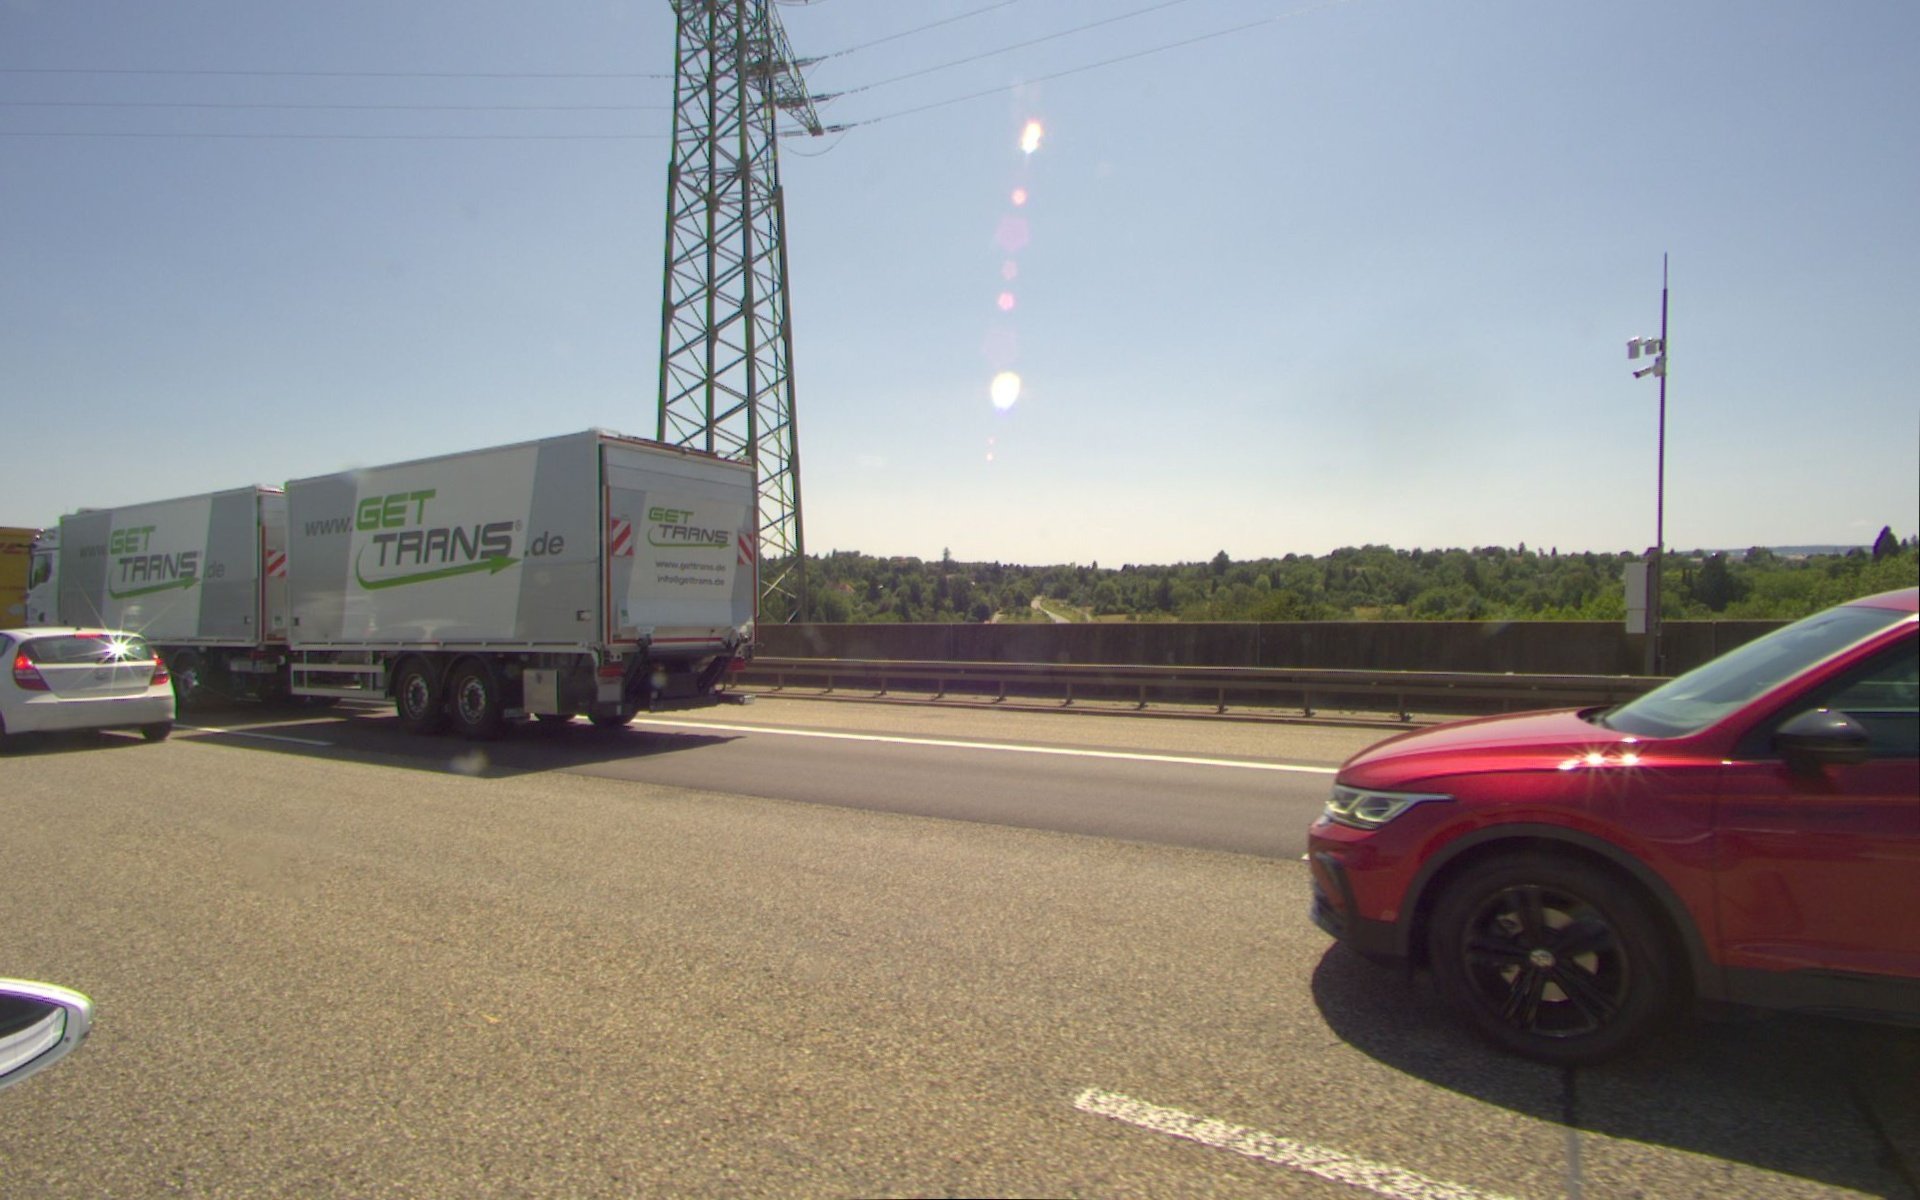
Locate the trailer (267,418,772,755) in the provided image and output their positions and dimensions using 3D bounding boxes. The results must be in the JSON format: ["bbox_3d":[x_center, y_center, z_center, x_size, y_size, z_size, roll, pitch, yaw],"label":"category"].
[{"bbox_3d":[-6.581,-0.097,14.410,7.899,3.749,2.693,-1,0,32],"label":"trailer"}]

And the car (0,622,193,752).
[{"bbox_3d":[-12.263,1.047,13.436,4.232,1.474,1.785,-1,-1,32],"label":"car"}]

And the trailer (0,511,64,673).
[{"bbox_3d":[-29.378,-0.136,28.954,8.883,4.293,2.860,-1,-1,32],"label":"trailer"}]

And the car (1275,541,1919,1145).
[{"bbox_3d":[3.396,0.687,3.384,4.163,1.683,1.772,-1,-1,32],"label":"car"}]

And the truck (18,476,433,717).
[{"bbox_3d":[-14.556,0.017,19.363,10.851,3.696,2.651,-1,0,32],"label":"truck"}]
